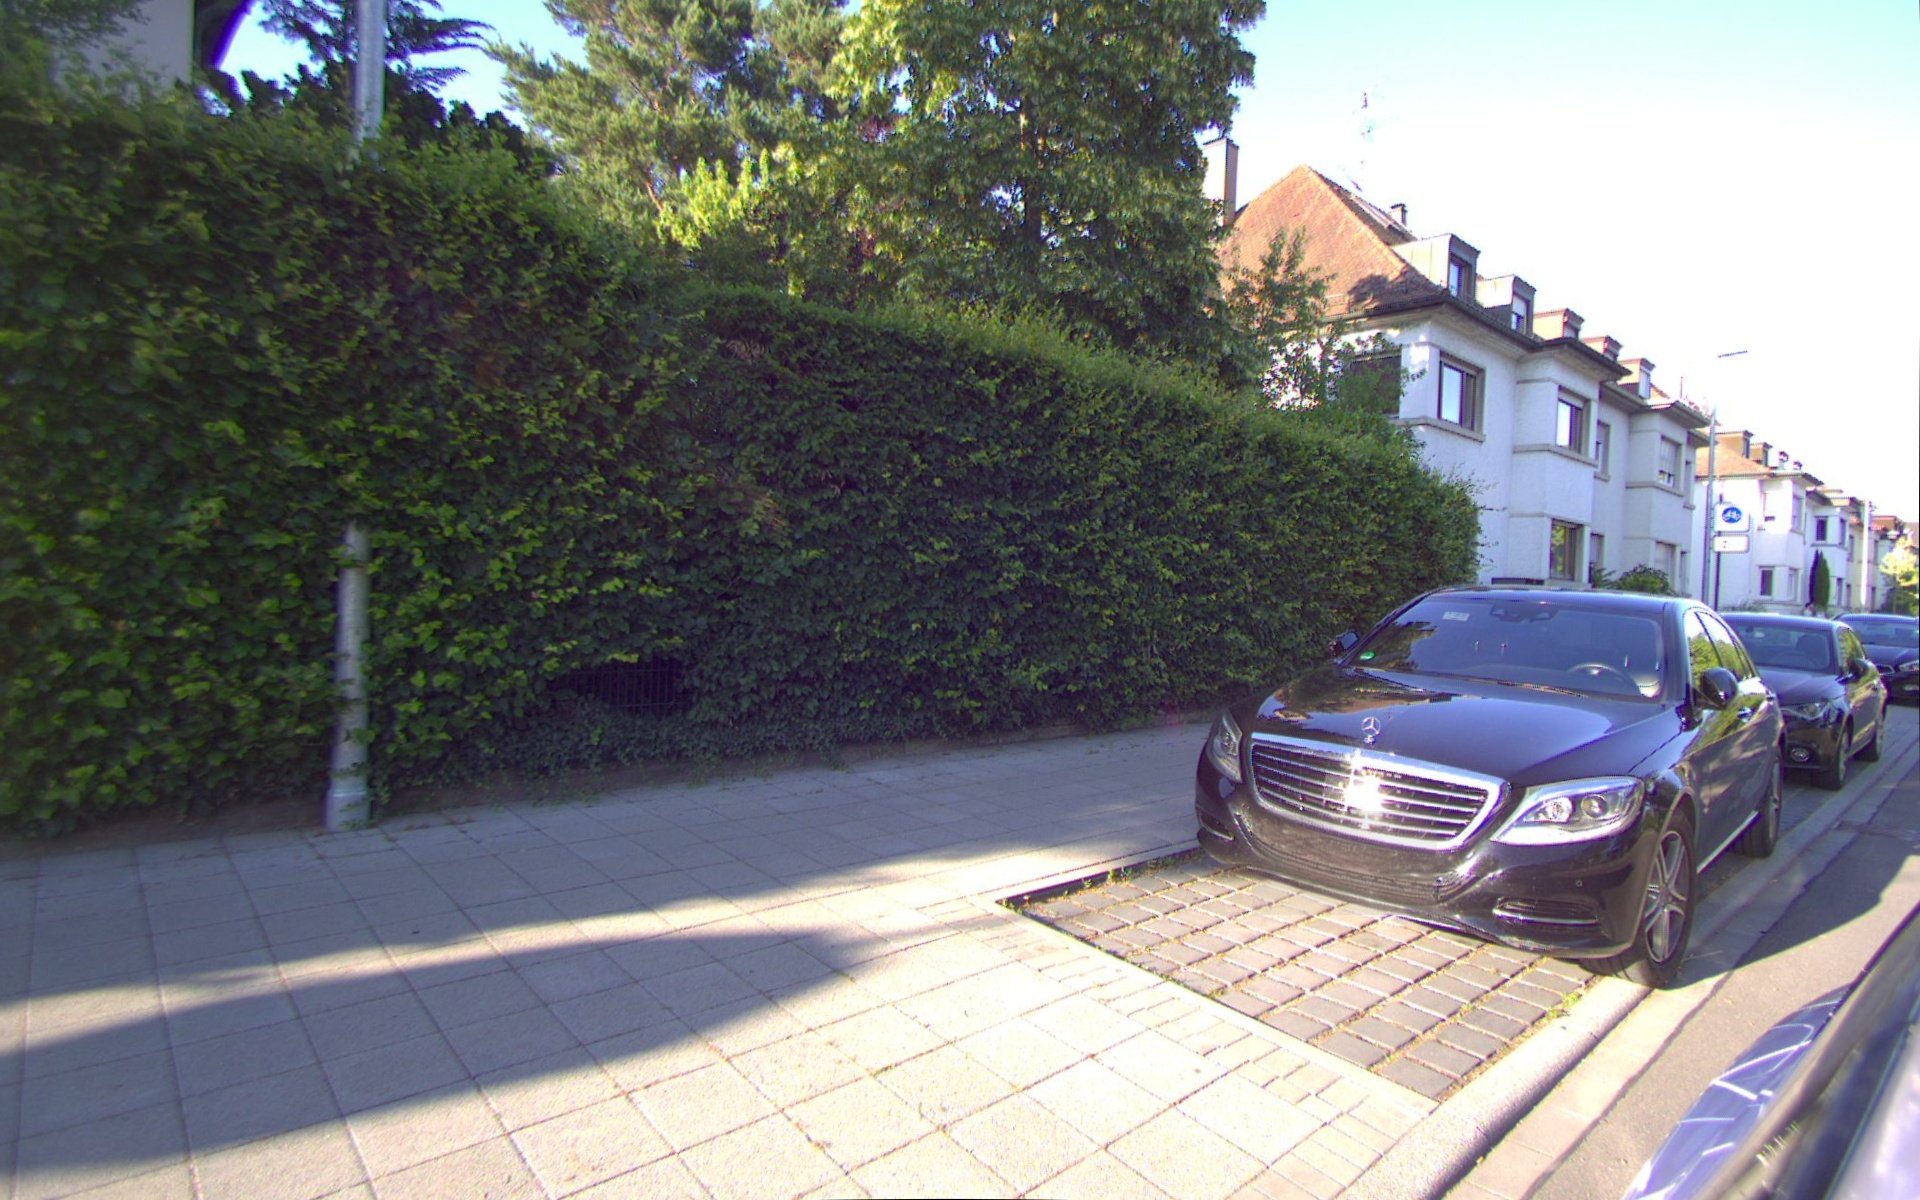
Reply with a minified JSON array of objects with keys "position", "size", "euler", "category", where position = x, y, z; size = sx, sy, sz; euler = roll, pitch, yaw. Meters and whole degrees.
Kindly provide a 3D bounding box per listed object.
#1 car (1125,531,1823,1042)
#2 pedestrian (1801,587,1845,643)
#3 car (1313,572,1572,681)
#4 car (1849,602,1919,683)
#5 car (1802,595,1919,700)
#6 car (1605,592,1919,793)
[{"position":[3.121,0.552,5.484],"size":[4.792,1.561,1.861],"euler":[1,3,-44],"category":"car"},{"position":[32.606,0.562,38.252],"size":[1.081,2.038,0.856],"euler":[2,1,33],"category":"pedestrian"},{"position":[8.324,0.375,17.640],"size":[3.637,1.514,1.752],"euler":[6,3,45],"category":"car"},{"position":[19.898,0.860,21.008],"size":[3.916,1.489,1.721],"euler":[1,4,-43],"category":"car"},{"position":[16.048,0.771,17.452],"size":[4.183,1.492,1.750],"euler":[1,5,-43],"category":"car"},{"position":[7.787,0.729,9.700],"size":[3.868,1.445,1.644],"euler":[1,3,-42],"category":"car"}]
